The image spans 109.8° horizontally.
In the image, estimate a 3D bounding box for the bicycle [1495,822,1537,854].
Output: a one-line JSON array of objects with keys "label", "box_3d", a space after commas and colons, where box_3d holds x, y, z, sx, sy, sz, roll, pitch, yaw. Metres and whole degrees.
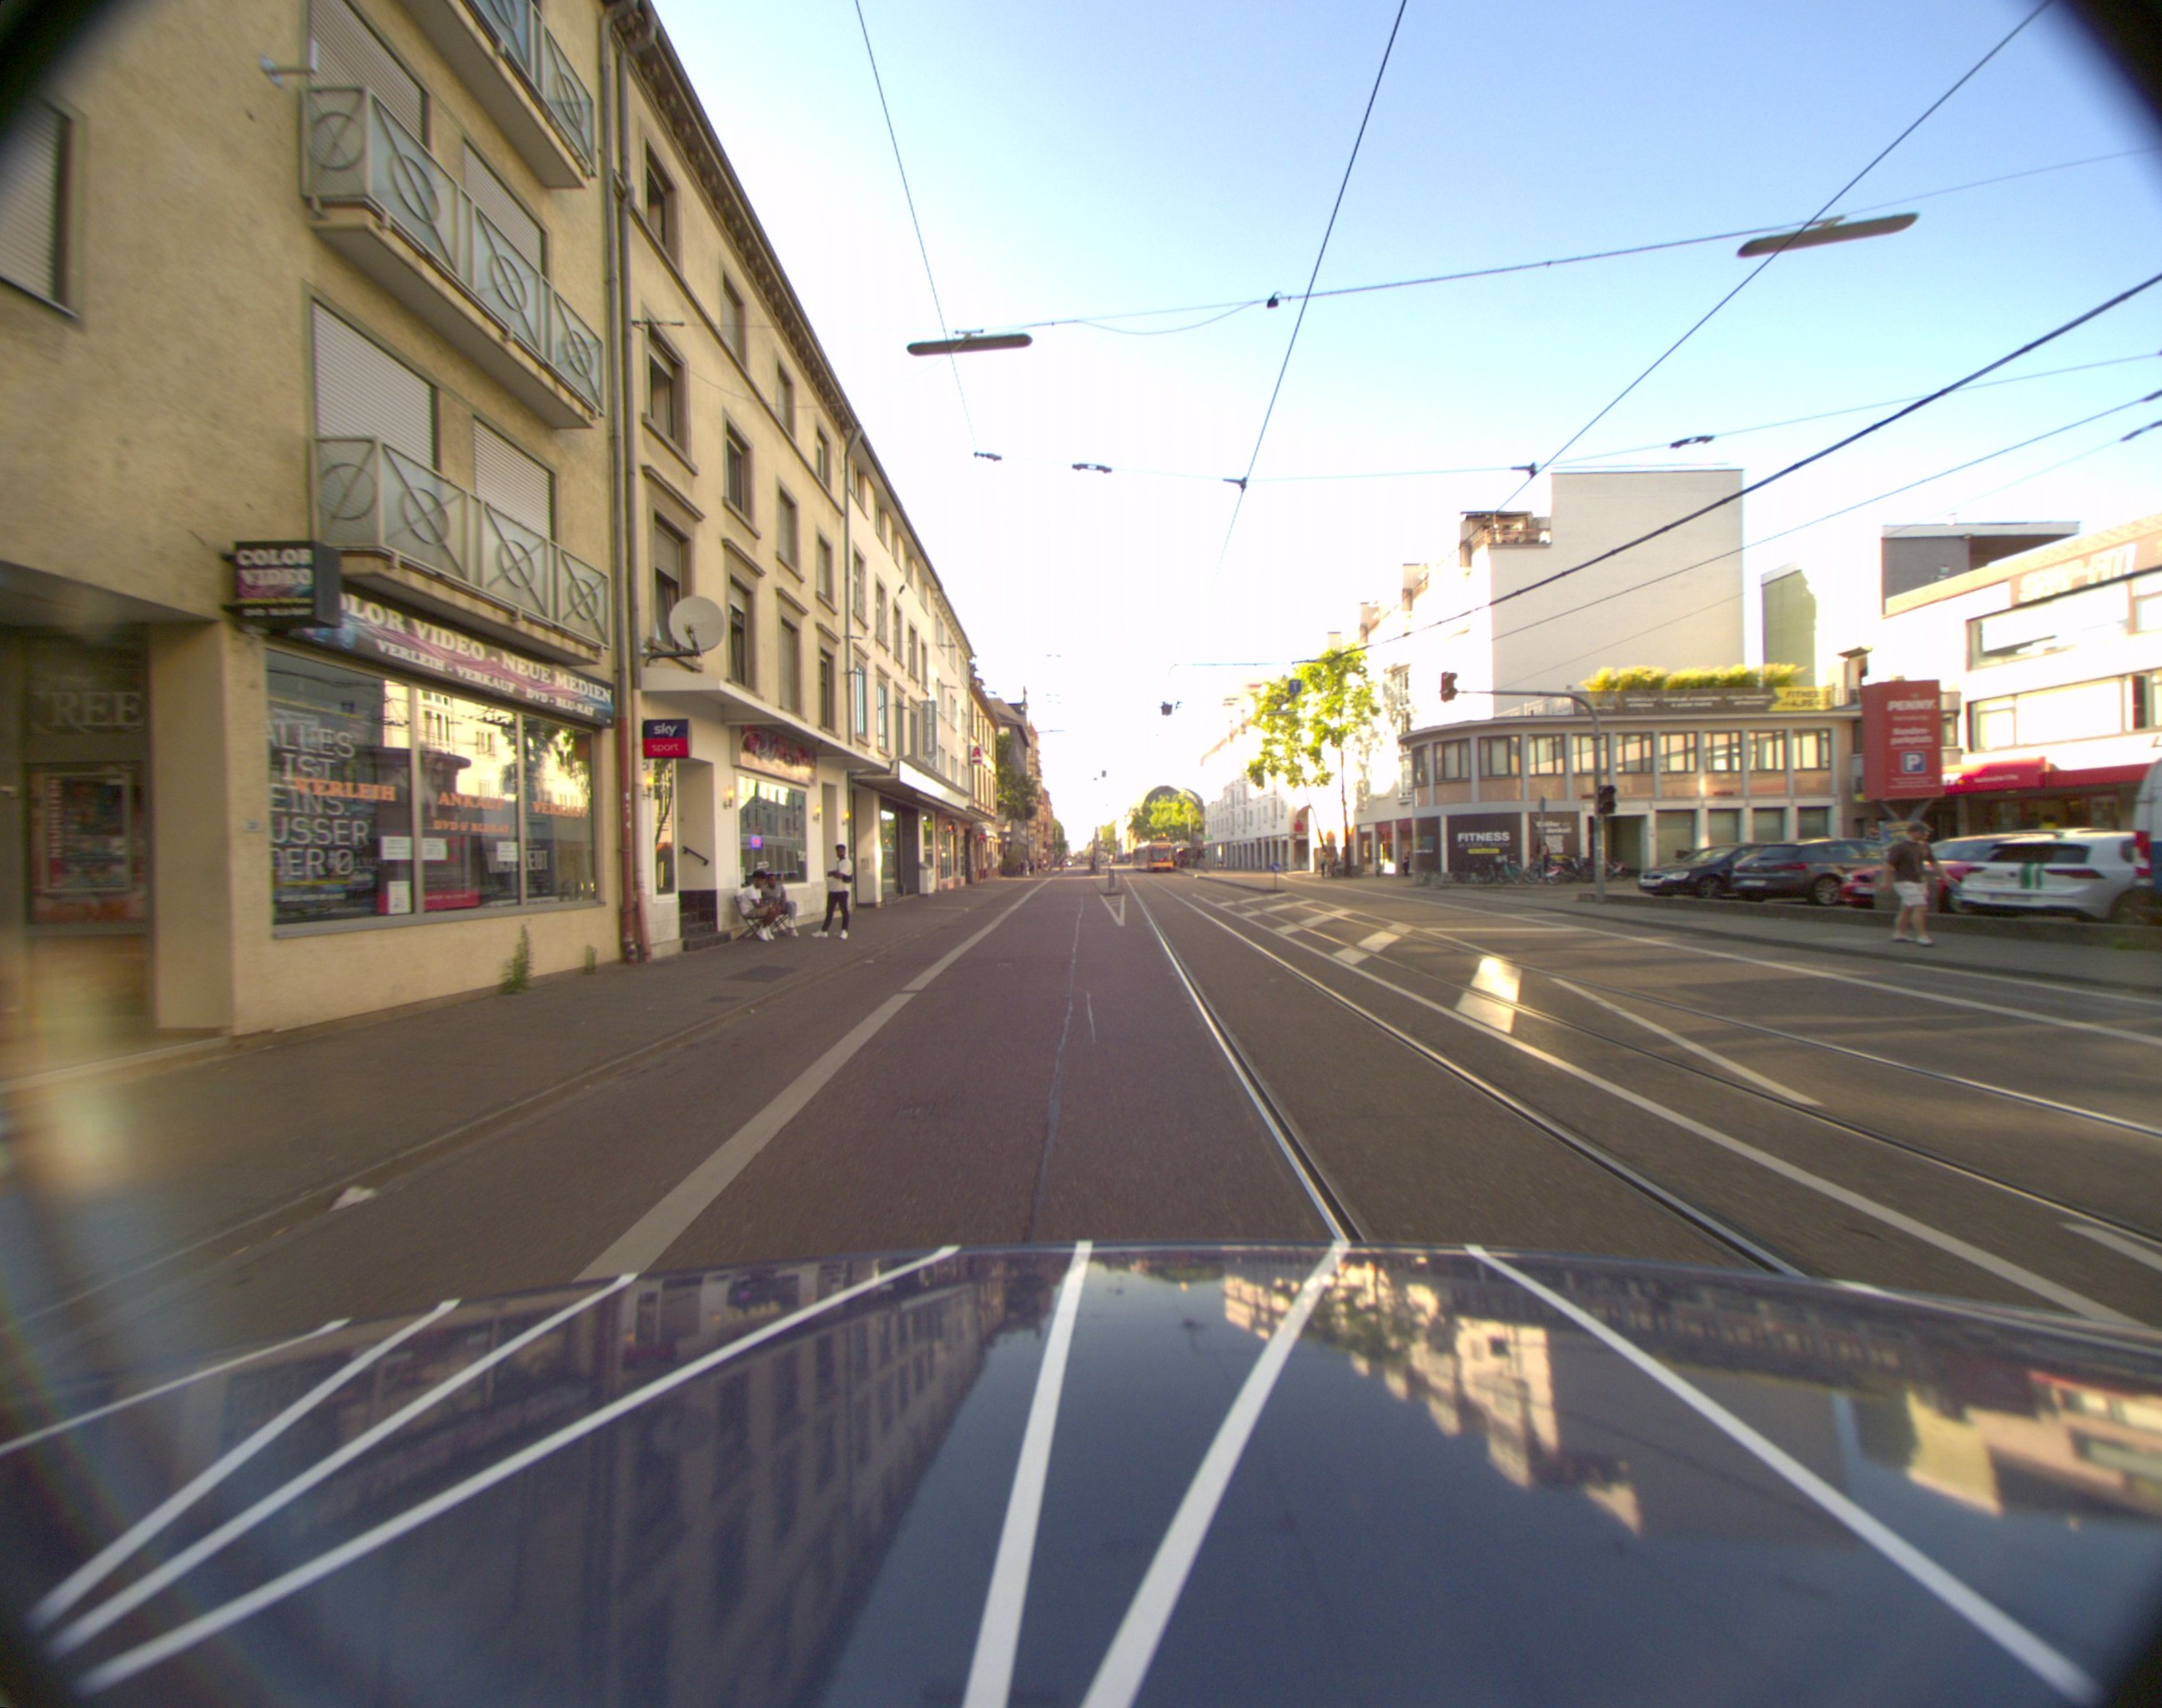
[{"label": "bicycle", "box_3d": [16.597, -0.595, 29.020, 0.444, 1.180, 1.831, -2, 0, -3]}]

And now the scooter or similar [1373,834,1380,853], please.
[{"label": "scooter or similar", "box_3d": [18.010, -0.631, 46.273, 0.335, 1.105, 1.181, -2, 1, 23]}]

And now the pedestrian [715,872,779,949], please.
[{"label": "pedestrian", "box_3d": [-5.838, 0.974, 13.260, 0.832, 1.248, 0.705, 3, 0, -35]}]

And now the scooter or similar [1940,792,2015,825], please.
[{"label": "scooter or similar", "box_3d": [28.794, -1.448, 24.422, 0.915, 0.956, 1.247, -3, 1, -2]}]

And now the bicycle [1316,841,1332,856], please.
[{"label": "bicycle", "box_3d": [15.592, -0.347, 48.842, 0.389, 0.907, 1.851, -4, 0, 1]}]

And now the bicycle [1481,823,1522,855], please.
[{"label": "bicycle", "box_3d": [16.125, -0.561, 29.194, 0.449, 1.180, 1.831, -2, 0, -3]}]

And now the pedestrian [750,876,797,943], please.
[{"label": "pedestrian", "box_3d": [-5.786, 1.030, 14.355, 0.708, 1.168, 1.014, 3, 0, -19]}]

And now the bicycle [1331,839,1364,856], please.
[{"label": "bicycle", "box_3d": [16.716, -0.398, 47.611, 1.849, 0.907, 0.389, -4, 1, 5]}]

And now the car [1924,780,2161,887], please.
[{"label": "car", "box_3d": [16.340, -0.347, 11.695, 4.600, 1.467, 1.879, -2, 0, 0]}]

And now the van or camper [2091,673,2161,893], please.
[{"label": "van or camper", "box_3d": [16.678, -1.008, 9.228, 5.620, 2.810, 2.315, -2, 0, 1]}]

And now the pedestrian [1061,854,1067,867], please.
[{"label": "pedestrian", "box_3d": [-2.399, 0.904, 105.637, 0.694, 1.760, 0.697, -2, 1, 5]}]

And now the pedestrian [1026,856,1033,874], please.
[{"label": "pedestrian", "box_3d": [-5.000, 1.087, 73.659, 0.651, 1.706, 0.805, -2, 1, -7]}]

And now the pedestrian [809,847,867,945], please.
[{"label": "pedestrian", "box_3d": [-4.683, 0.802, 14.674, 0.705, 1.801, 0.680, 4, 0, 15]}]

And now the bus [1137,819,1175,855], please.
[{"label": "bus", "box_3d": [7.957, -1.714, 82.054, 2.818, 3.547, 13.678, -2, 0, 1]}]

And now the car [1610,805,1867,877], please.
[{"label": "car", "box_3d": [16.709, -0.319, 19.491, 4.907, 1.574, 1.879, -2, 0, 0]}]

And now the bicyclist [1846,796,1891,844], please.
[{"label": "bicyclist", "box_3d": [26.208, -1.138, 25.290, 0.838, 1.540, 0.690, -2, 0, -17]}]

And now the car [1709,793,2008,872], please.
[{"label": "car", "box_3d": [16.924, -0.447, 16.724, 4.600, 1.467, 1.879, -2, 0, 0]}]

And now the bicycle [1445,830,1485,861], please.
[{"label": "bicycle", "box_3d": [15.228, -0.324, 30.186, 0.447, 1.180, 1.830, -2, 0, -6]}]

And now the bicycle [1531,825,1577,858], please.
[{"label": "bicycle", "box_3d": [17.603, -0.451, 28.327, 0.449, 1.180, 1.831, -2, 0, -3]}]

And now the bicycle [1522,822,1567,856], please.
[{"label": "bicycle", "box_3d": [17.234, -0.538, 28.297, 0.449, 1.180, 1.831, -2, 0, -3]}]

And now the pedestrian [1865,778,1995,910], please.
[{"label": "pedestrian", "box_3d": [12.451, -0.138, 11.177, 0.835, 1.822, 0.909, -2, 0, -1]}]

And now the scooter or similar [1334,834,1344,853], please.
[{"label": "scooter or similar", "box_3d": [17.742, -0.692, 52.285, 0.378, 1.271, 1.180, -5, 0, 12]}]

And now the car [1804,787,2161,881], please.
[{"label": "car", "box_3d": [16.705, -0.347, 14.180, 4.600, 1.467, 1.879, -2, 0, 0]}]

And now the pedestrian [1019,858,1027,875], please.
[{"label": "pedestrian", "box_3d": [-5.589, 1.229, 73.025, 0.651, 1.569, 0.682, -2, 1, -7]}]

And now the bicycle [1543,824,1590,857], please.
[{"label": "bicycle", "box_3d": [18.214, -0.483, 28.545, 0.449, 1.180, 1.831, -2, 0, -3]}]

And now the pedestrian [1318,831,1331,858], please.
[{"label": "pedestrian", "box_3d": [15.754, -0.645, 49.170, 0.630, 1.706, 0.826, -2, 1, 27]}]

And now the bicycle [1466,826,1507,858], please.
[{"label": "bicycle", "box_3d": [15.721, -0.432, 29.485, 0.441, 1.180, 1.830, -2, 0, -6]}]

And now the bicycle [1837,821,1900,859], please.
[{"label": "bicycle", "box_3d": [26.208, -0.465, 25.291, 1.832, 1.164, 0.682, -2, 0, -17]}]

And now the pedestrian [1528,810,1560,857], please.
[{"label": "pedestrian", "box_3d": [17.185, -0.763, 28.210, 0.682, 1.687, 0.683, -2, 0, -2]}]

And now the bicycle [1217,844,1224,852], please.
[{"label": "bicycle", "box_3d": [17.769, -0.716, 96.520, 0.518, 0.983, 1.727, -4, 1, 1]}]

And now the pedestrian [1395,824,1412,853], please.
[{"label": "pedestrian", "box_3d": [19.440, -0.940, 45.757, 0.631, 1.706, 0.825, -2, 1, 1]}]

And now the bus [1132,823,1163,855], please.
[{"label": "bus", "box_3d": [8.174, -1.799, 95.561, 2.818, 3.547, 13.678, -2, 0, 1]}]

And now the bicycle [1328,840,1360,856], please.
[{"label": "bicycle", "box_3d": [16.821, -0.378, 48.688, 1.849, 0.907, 0.389, -4, -1, 5]}]

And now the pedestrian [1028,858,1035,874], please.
[{"label": "pedestrian", "box_3d": [-5.536, 1.338, 84.718, 0.650, 1.760, 0.697, -2, 1, 5]}]

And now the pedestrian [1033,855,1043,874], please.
[{"label": "pedestrian", "box_3d": [-4.223, 1.020, 74.618, 0.807, 1.789, 0.761, -2, 1, -4]}]

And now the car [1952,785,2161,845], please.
[{"label": "car", "box_3d": [27.483, -1.087, 21.398, 4.605, 1.467, 1.877, -2, 0, -12]}]
